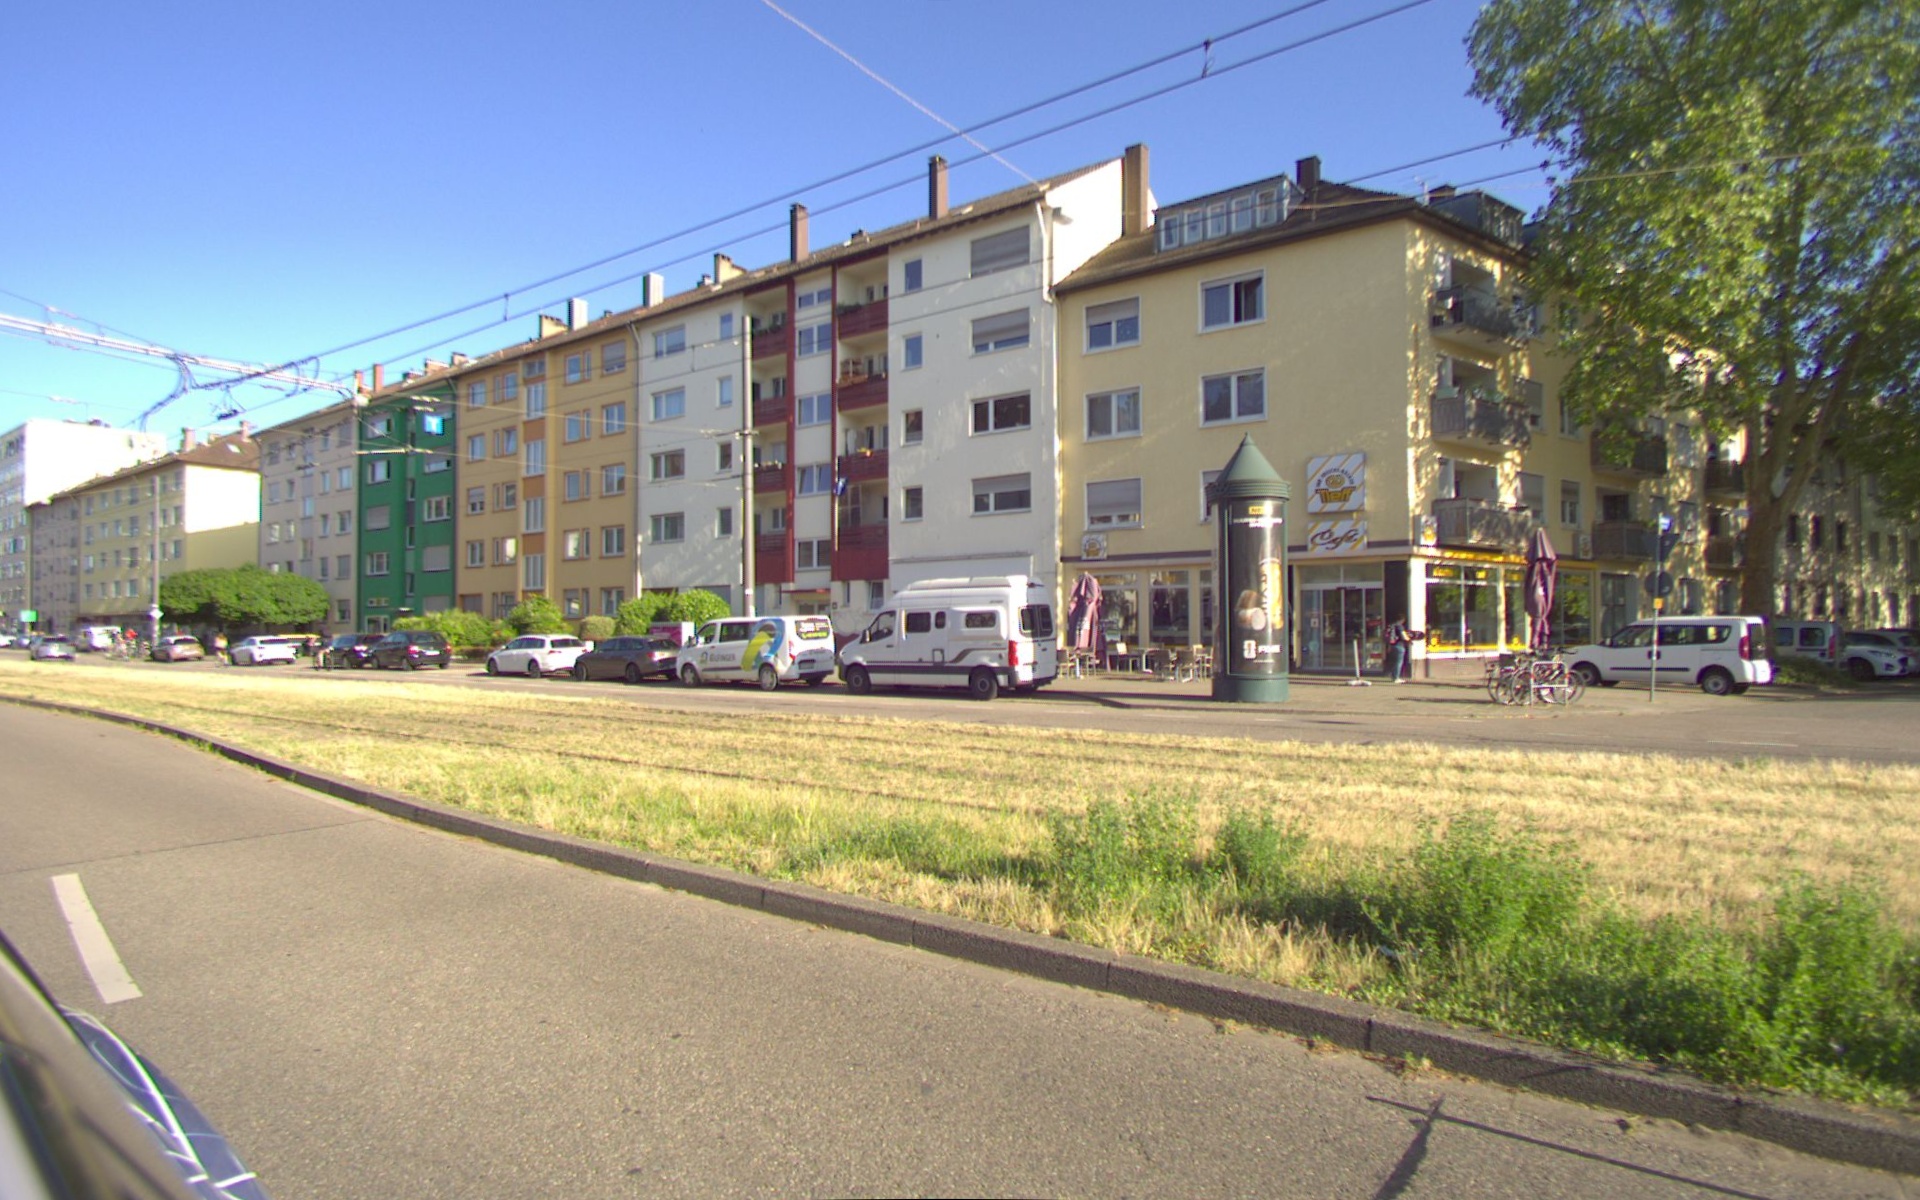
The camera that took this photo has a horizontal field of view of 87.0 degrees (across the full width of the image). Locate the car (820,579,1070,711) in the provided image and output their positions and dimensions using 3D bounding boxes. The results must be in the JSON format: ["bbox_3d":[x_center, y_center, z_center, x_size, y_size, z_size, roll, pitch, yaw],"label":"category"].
[{"bbox_3d":[-0.506,1.070,24.892,6.218,2.890,2.013,-2,-1,38],"label":"car"}]

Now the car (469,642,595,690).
[{"bbox_3d":[-15.146,2.302,35.720,4.691,1.503,1.876,-2,-1,35],"label":"car"}]

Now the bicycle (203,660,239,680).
[{"bbox_3d":[-34.519,3.258,47.254,2.065,0.886,0.761,-2,-4,37],"label":"bicycle"}]

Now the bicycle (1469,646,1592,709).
[{"bbox_3d":[11.135,1.508,19.777,2.062,1.193,0.519,0,0,3],"label":"bicycle"}]

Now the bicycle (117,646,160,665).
[{"bbox_3d":[-51.963,3.505,64.027,0.615,1.101,2.026,-2,0,42],"label":"bicycle"}]

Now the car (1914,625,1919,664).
[{"bbox_3d":[43.064,1.926,42.478,1.966,1.677,4.072,2,-2,-34],"label":"car"}]

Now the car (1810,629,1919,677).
[{"bbox_3d":[33.376,1.898,36.346,1.850,1.626,4.011,3,-3,-33],"label":"car"}]

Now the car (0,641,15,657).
[{"bbox_3d":[-96.602,4.899,101.594,4.191,1.497,1.743,-2,0,36],"label":"car"}]

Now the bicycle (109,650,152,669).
[{"bbox_3d":[-53.743,3.823,65.584,0.615,1.101,2.026,-2,0,42],"label":"bicycle"}]

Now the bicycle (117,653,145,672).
[{"bbox_3d":[-50.576,3.793,61.747,1.925,1.101,0.506,-2,0,25],"label":"bicycle"}]

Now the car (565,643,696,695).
[{"bbox_3d":[-10.590,2.169,32.433,4.314,1.526,1.680,-2,-1,34],"label":"car"}]

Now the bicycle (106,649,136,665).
[{"bbox_3d":[-66.457,4.511,80.169,0.390,1.114,1.803,-2,0,36],"label":"bicycle"}]

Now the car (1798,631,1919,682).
[{"bbox_3d":[31.387,1.909,34.485,1.850,1.626,4.011,3,-3,-33],"label":"car"}]

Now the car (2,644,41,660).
[{"bbox_3d":[-89.695,4.928,96.728,4.404,1.395,1.768,-2,0,34],"label":"car"}]

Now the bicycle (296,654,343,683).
[{"bbox_3d":[-26.214,2.782,41.428,2.470,1.155,0.761,-2,-5,37],"label":"bicycle"}]

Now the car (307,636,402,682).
[{"bbox_3d":[-26.650,2.553,44.505,4.600,1.851,1.976,-2,0,37],"label":"car"}]

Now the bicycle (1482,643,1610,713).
[{"bbox_3d":[11.107,1.468,19.215,2.062,1.261,0.519,-1,0,3],"label":"bicycle"}]

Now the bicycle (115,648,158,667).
[{"bbox_3d":[-52.463,3.668,64.464,0.615,1.101,2.026,-2,0,42],"label":"bicycle"}]

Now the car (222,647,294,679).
[{"bbox_3d":[-35.204,3.113,50.707,4.368,1.465,1.713,-2,-1,37],"label":"car"}]

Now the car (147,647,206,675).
[{"bbox_3d":[-45.373,3.520,58.560,3.724,1.453,1.622,-2,0,34],"label":"car"}]

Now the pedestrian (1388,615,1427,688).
[{"bbox_3d":[11.273,1.291,25.514,0.835,1.799,0.682,-2,0,23],"label":"pedestrian"}]

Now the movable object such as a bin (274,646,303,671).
[{"bbox_3d":[-39.130,3.416,59.006,1.038,1.378,1.136,-2,0,39],"label":"movable object such as a bin"}]

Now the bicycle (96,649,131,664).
[{"bbox_3d":[-67.955,4.541,81.296,0.472,1.114,2.079,-2,0,36],"label":"bicycle"}]

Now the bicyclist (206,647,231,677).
[{"bbox_3d":[-34.668,2.901,47.332,0.647,1.394,0.766,-2,-3,36],"label":"bicyclist"}]

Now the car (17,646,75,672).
[{"bbox_3d":[-52.658,3.389,58.290,4.210,1.459,1.678,-2,-4,37],"label":"car"}]

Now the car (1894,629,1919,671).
[{"bbox_3d":[40.365,2.021,40.474,1.966,1.677,4.072,2,-2,-34],"label":"car"}]

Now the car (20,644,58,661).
[{"bbox_3d":[-85.263,4.833,93.668,4.406,1.431,1.767,-2,0,36],"label":"car"}]

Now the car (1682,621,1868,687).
[{"bbox_3d":[24.668,1.592,30.768,1.966,1.857,4.011,3,-3,-33],"label":"car"}]

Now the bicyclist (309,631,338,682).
[{"bbox_3d":[-26.097,2.298,41.504,0.647,2.029,0.766,-2,0,36],"label":"bicyclist"}]

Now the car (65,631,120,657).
[{"bbox_3d":[-71.257,3.617,83.091,5.485,1.964,1.978,-2,0,34],"label":"car"}]

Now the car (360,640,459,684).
[{"bbox_3d":[-22.624,2.500,41.544,4.143,1.620,1.976,-2,0,37],"label":"car"}]

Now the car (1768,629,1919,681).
[{"bbox_3d":[29.432,1.792,33.344,1.850,1.582,4.011,3,-3,-33],"label":"car"}]

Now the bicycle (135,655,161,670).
[{"bbox_3d":[-50.181,3.844,62.559,2.043,0.872,0.374,-2,0,25],"label":"bicycle"}]

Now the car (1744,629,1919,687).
[{"bbox_3d":[27.536,1.775,31.861,1.966,1.677,4.072,2,-2,-34],"label":"car"}]

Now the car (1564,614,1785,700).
[{"bbox_3d":[17.415,1.332,24.800,1.968,1.840,4.007,-2,0,-39],"label":"car"}]

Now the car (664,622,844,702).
[{"bbox_3d":[-5.981,1.724,28.996,5.362,2.036,2.013,-2,0,38],"label":"car"}]

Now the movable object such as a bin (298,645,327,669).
[{"bbox_3d":[-38.459,3.379,60.114,1.038,1.378,1.136,-2,0,39],"label":"movable object such as a bin"}]
